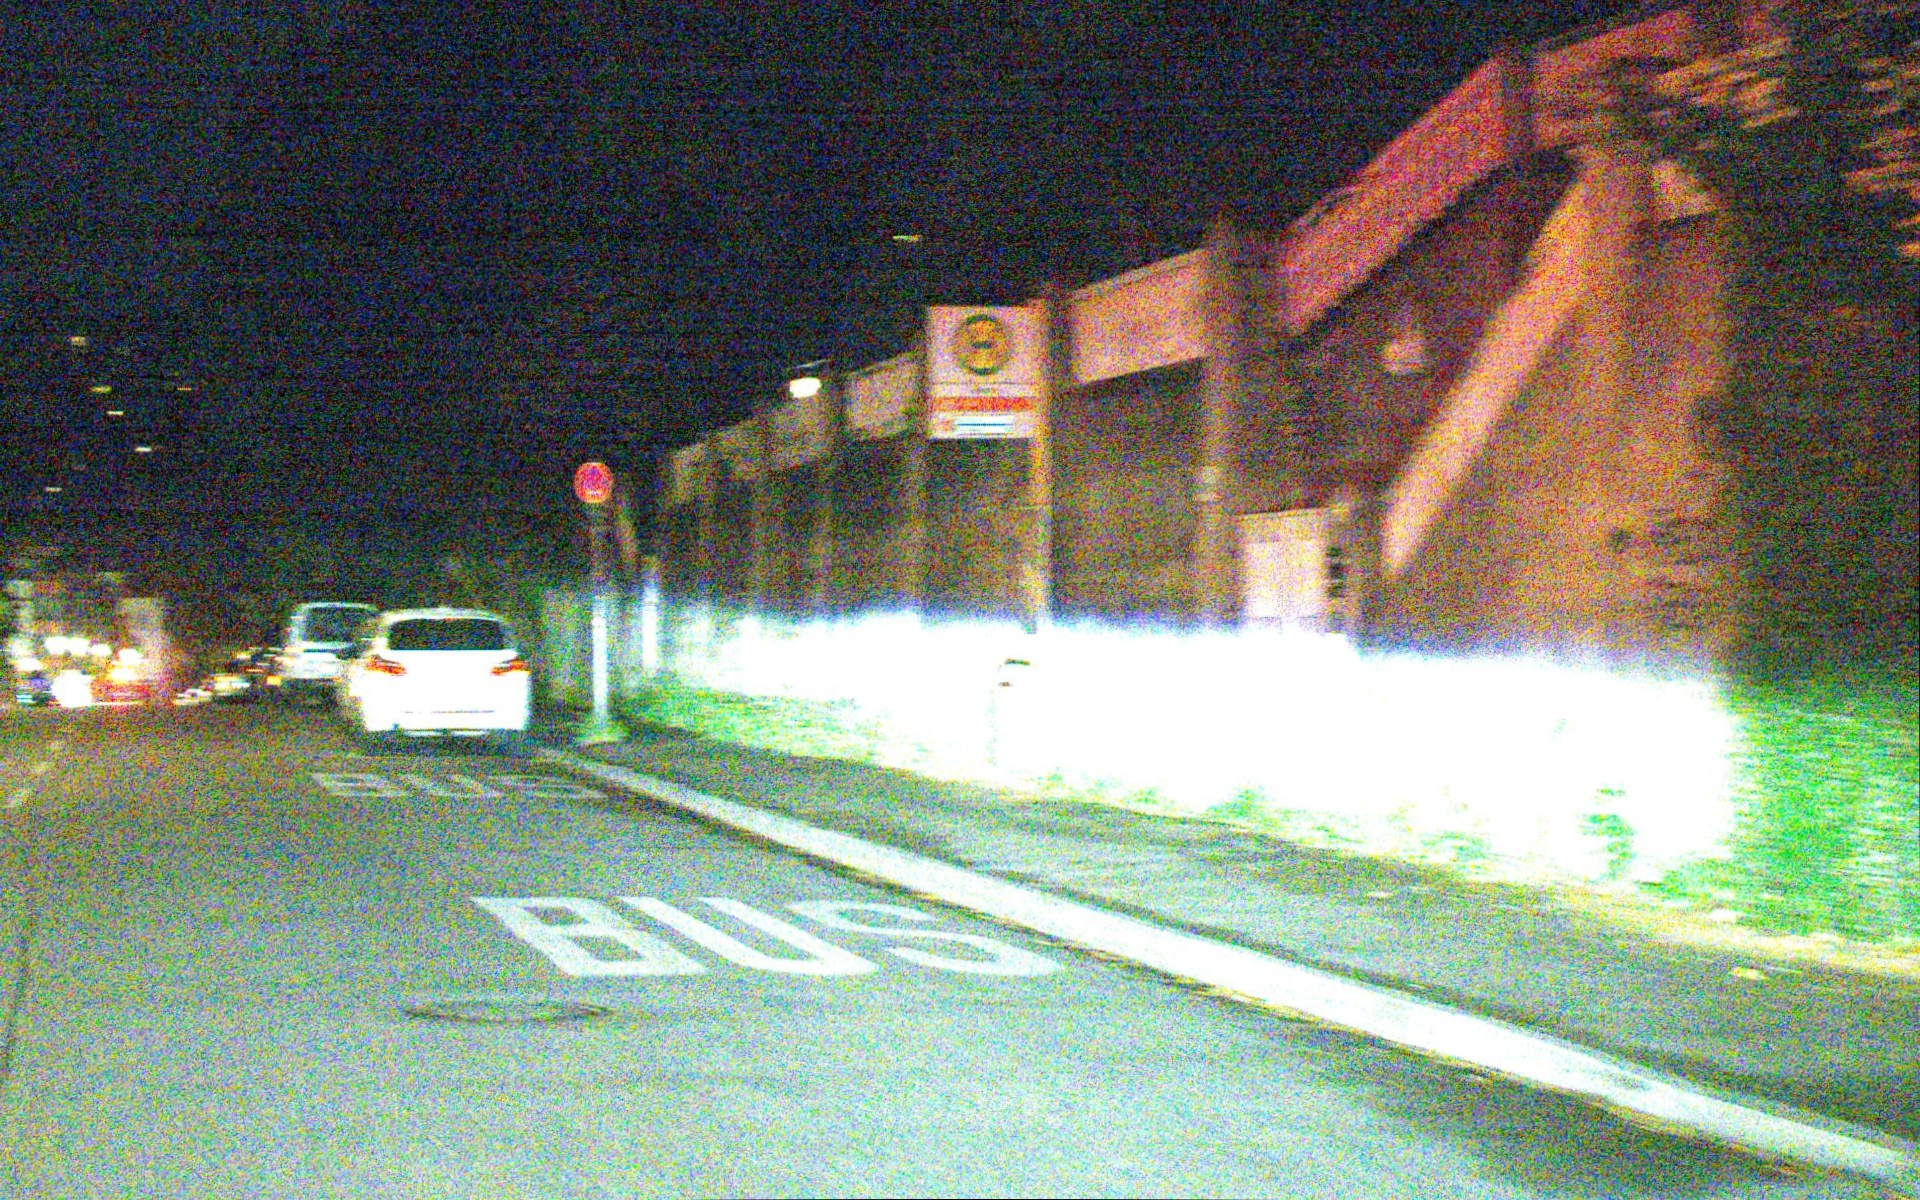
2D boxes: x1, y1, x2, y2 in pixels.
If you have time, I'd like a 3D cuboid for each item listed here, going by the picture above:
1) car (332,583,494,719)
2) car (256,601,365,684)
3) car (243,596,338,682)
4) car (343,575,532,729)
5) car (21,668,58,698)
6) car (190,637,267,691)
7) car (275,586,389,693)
[{"bbox_3d":[-6.783,0.591,42.406,1.608,1.456,3.718,-3,2,-14],"label":"car"},{"bbox_3d":[-12.215,0.806,64.521,1.743,1.466,4.257,1,-1,-14],"label":"car"},{"bbox_3d":[-13.637,0.819,69.966,1.831,1.658,4.619,0,-1,-11],"label":"car"},{"bbox_3d":[-5.833,0.542,37.997,1.754,1.588,4.729,0,0,-12],"label":"car"},{"bbox_3d":[-49.333,4.466,184.240,1.752,1.534,3.731,-1,-2,-17],"label":"car"},{"bbox_3d":[-20.999,1.858,98.607,1.762,1.471,4.277,1,-2,-17],"label":"car"},{"bbox_3d":[-10.844,0.672,59.201,1.718,1.755,4.759,0,-1,-13],"label":"car"}]
